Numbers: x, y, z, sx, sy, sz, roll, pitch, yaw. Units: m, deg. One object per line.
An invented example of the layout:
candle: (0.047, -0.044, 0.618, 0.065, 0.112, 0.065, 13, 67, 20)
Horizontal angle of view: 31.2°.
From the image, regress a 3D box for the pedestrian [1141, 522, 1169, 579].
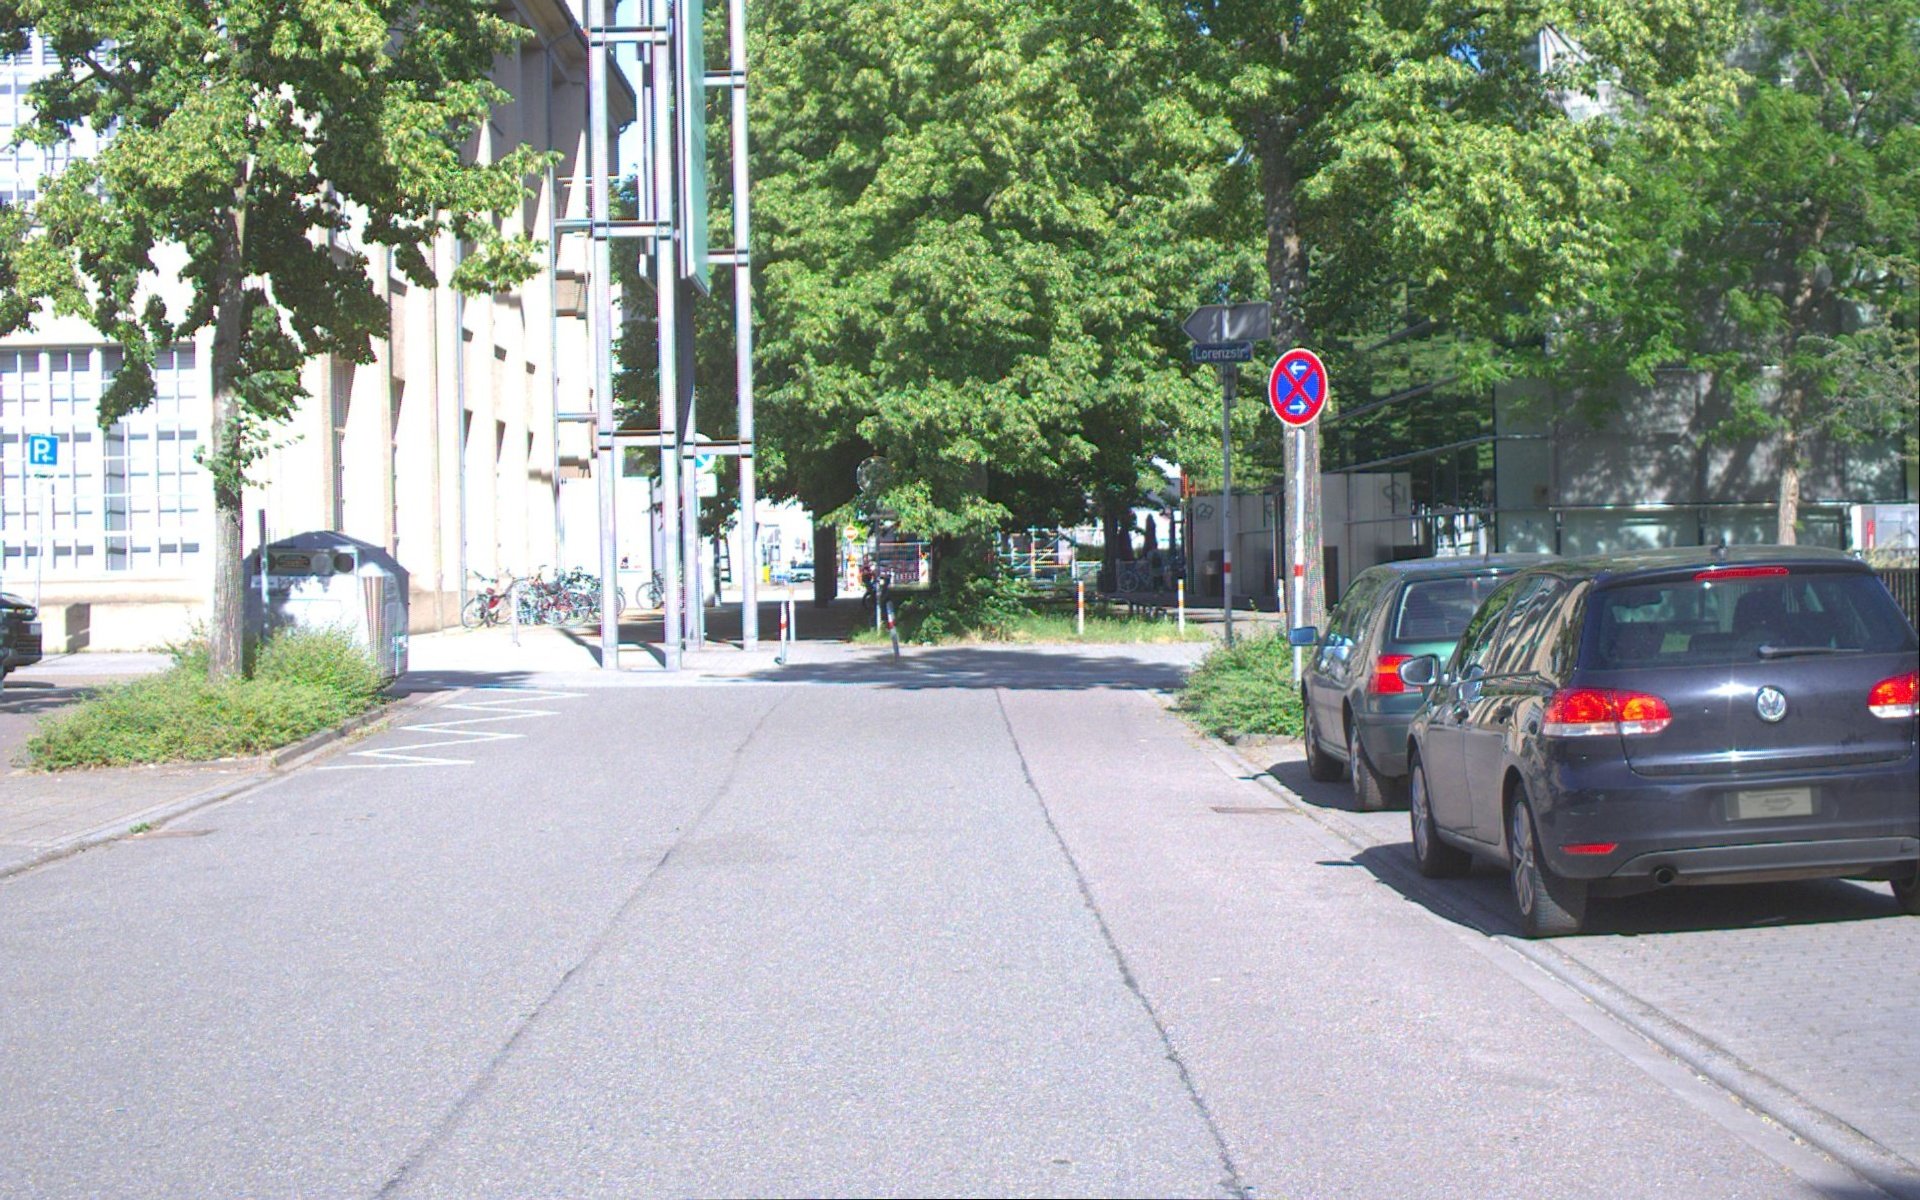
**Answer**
pedestrian: (5.351, -1.352, 94.469, 0.717, 1.545, 0.690, -1, 1, 6)

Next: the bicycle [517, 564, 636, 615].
bicycle: (-8.965, -0.250, 80.401, 2.731, 1.147, 0.719, -1, 1, -5)

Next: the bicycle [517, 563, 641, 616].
bicycle: (-8.751, -0.239, 79.064, 2.800, 1.147, 0.719, -1, 1, -5)

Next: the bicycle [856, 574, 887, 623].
bicycle: (-2.219, -0.053, 86.079, 0.619, 1.193, 2.132, -1, 1, -6)

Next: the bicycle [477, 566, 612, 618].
bicycle: (-8.899, -0.176, 73.703, 2.800, 1.059, 0.719, -1, 1, 0)

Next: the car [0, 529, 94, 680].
car: (-12.255, 0.073, 39.452, 4.090, 1.690, 2.000, -1, 0, 1)

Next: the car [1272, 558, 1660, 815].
car: (3.018, 0.479, 21.343, 1.746, 1.417, 4.424, 0, 0, 0)

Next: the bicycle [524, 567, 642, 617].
bicycle: (-8.889, -0.188, 81.192, 2.731, 1.147, 0.719, -1, 1, -5)

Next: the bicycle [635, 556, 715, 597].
bicycle: (-7.600, -0.619, 91.626, 2.058, 1.062, 0.506, -1, 1, 2)

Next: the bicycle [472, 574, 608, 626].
bicycle: (-8.797, -0.002, 72.079, 2.800, 1.059, 0.719, -1, 1, -5)

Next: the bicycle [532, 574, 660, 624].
bicycle: (-8.107, -0.026, 76.639, 2.800, 1.059, 0.719, -1, 1, -5)

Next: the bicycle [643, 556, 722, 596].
bicycle: (-7.468, -0.649, 92.460, 2.058, 1.062, 0.506, -1, 1, 2)

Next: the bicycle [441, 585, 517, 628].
bicycle: (-9.685, 0.122, 69.355, 0.778, 0.789, 2.883, -1, 1, 7)

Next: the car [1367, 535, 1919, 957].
car: (2.949, 0.502, 14.643, 1.783, 1.511, 4.000, -1, 1, -2)
